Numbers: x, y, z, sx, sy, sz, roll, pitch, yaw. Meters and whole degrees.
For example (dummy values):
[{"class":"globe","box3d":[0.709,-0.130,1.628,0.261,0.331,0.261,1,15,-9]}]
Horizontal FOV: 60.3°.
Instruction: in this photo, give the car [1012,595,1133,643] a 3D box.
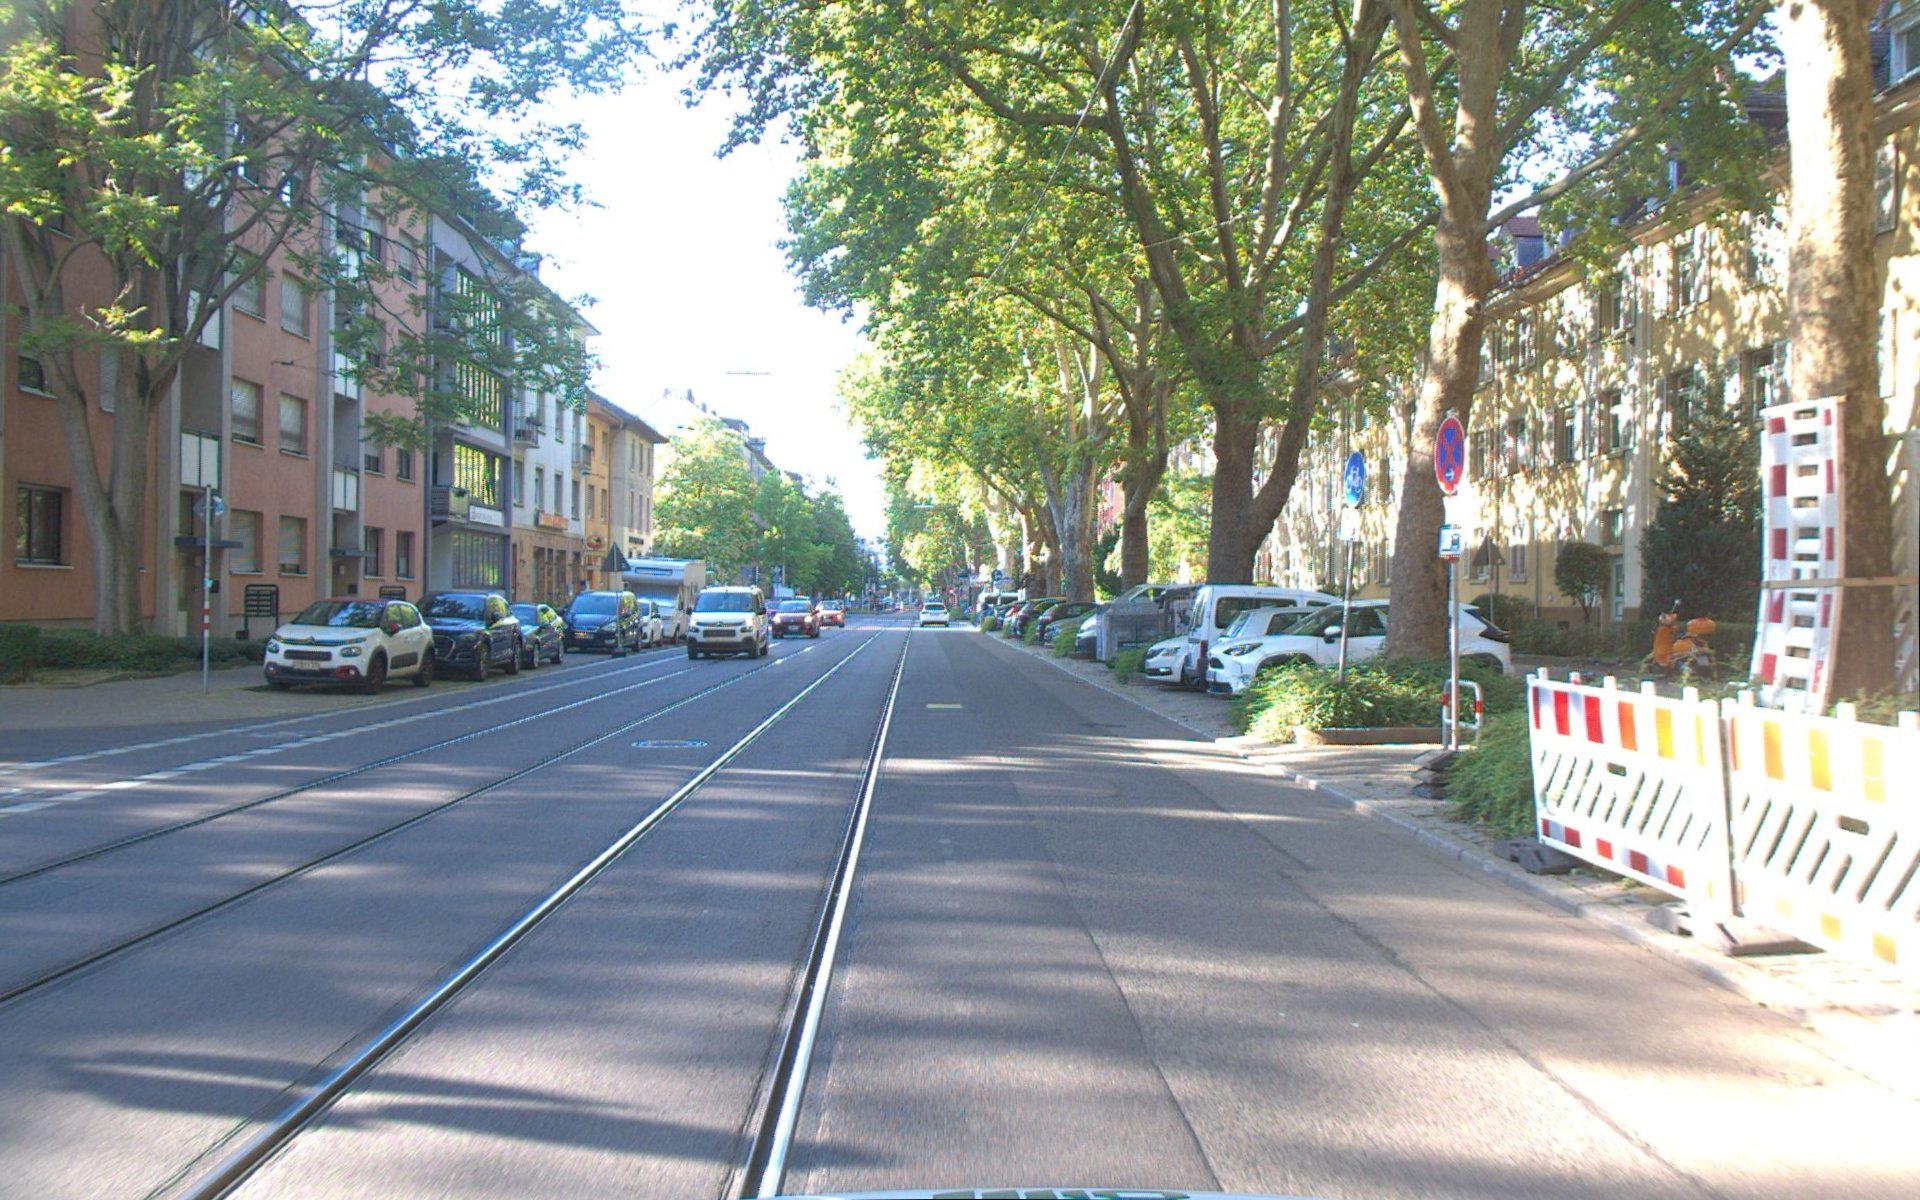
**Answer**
[{"class":"car","box3d":[4.169,0.697,61.833,4.403,1.630,2.028,-1,0,2]}]

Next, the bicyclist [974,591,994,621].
[{"class":"bicyclist","box3d":[1.437,0.356,98.431,1.027,1.735,1.055,0,0,-11]}]

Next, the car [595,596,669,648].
[{"class":"car","box3d":[-10.504,0.670,53.228,1.676,1.514,3.860,3,0,-3]}]

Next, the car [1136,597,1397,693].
[{"class":"car","box3d":[5.285,0.759,28.949,4.279,1.569,1.802,0,1,2]}]

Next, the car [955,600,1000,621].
[{"class":"car","box3d":[1.566,0.902,145.829,3.906,1.816,1.999,0,0,-1]}]

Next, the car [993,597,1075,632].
[{"class":"car","box3d":[3.644,0.707,81.782,3.846,1.699,1.959,0,0,-3]}]

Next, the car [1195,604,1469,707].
[{"class":"car","box3d":[5.528,0.806,24.968,3.764,1.458,1.852,0,0,2]}]

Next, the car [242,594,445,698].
[{"class":"car","box3d":[-10.002,0.710,27.192,1.769,1.504,4.089,3,0,-1]}]

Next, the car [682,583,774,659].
[{"class":"car","box3d":[-5.997,0.517,43.292,1.853,1.864,4.893,0,0,-2]}]

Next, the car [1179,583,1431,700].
[{"class":"car","box3d":[5.540,0.648,26.931,3.764,1.803,1.917,0,0,2]}]

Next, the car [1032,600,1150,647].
[{"class":"car","box3d":[4.335,0.772,55.203,3.761,1.536,1.710,0,0,-2]}]

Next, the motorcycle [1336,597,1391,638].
[{"class":"motorcycle","box3d":[14.507,0.610,59.489,1.768,1.385,0.622,-3,0,-4]}]

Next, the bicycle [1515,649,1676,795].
[{"class":"bicycle","box3d":[5.310,0.990,13.935,0.622,1.089,1.808,0,0,-1]}]

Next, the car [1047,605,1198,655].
[{"class":"car","box3d":[4.704,0.867,48.423,4.305,1.404,1.804,0,-1,2]}]

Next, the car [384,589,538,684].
[{"class":"car","box3d":[-9.769,0.667,32.733,1.745,1.638,4.586,3,0,-3]}]

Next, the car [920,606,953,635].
[{"class":"car","box3d":[-1.439,1.211,98.622,1.879,1.612,3.790,-1,0,-2]}]

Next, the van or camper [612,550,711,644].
[{"class":"van or camper","box3d":[-10.672,-0.105,59.737,2.290,3.094,6.396,4,0,-1]}]

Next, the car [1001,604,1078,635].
[{"class":"car","box3d":[3.785,0.931,79.561,3.576,1.402,1.889,0,0,-1]}]

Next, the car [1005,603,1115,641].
[{"class":"car","box3d":[3.979,0.881,66.306,4.209,1.464,1.947,0,0,-3]}]

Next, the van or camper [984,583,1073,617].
[{"class":"van or camper","box3d":[4.341,-0.004,105.769,5.448,2.048,2.242,0,2,-6]}]

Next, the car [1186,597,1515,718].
[{"class":"car","box3d":[5.240,0.766,22.531,4.006,1.548,1.915,0,-1,-3]}]

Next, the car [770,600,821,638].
[{"class":"car","box3d":[-6.590,0.741,66.678,1.740,1.483,4.201,-1,0,-2]}]

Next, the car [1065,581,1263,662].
[{"class":"car","box3d":[5.170,0.545,42.417,4.740,1.998,2.063,0,0,-4]}]

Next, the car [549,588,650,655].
[{"class":"car","box3d":[-10.240,0.579,47.358,1.913,1.716,5.068,2,0,-3]}]

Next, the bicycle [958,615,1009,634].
[{"class":"bicycle","box3d":[1.410,1.446,98.443,2.895,1.124,1.049,0,0,-11]}]

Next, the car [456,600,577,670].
[{"class":"car","box3d":[-10.065,0.760,37.875,1.703,1.425,4.380,3,0,-3]}]

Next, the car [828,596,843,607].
[{"class":"car","box3d":[-15.972,0.189,212.577,1.880,1.443,3.717,0,0,-5]}]

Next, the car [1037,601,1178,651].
[{"class":"car","box3d":[4.550,0.799,51.301,4.161,1.509,1.897,0,0,-2]}]

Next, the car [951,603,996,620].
[{"class":"car","box3d":[1.199,1.028,148.124,3.906,1.547,1.999,0,0,-1]}]

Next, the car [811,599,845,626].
[{"class":"car","box3d":[-7.318,0.669,91.889,1.688,1.462,4.067,-1,0,-2]}]

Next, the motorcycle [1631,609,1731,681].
[{"class":"motorcycle","box3d":[12.514,0.760,28.782,0.700,1.173,2.263,0,0,-1]}]
